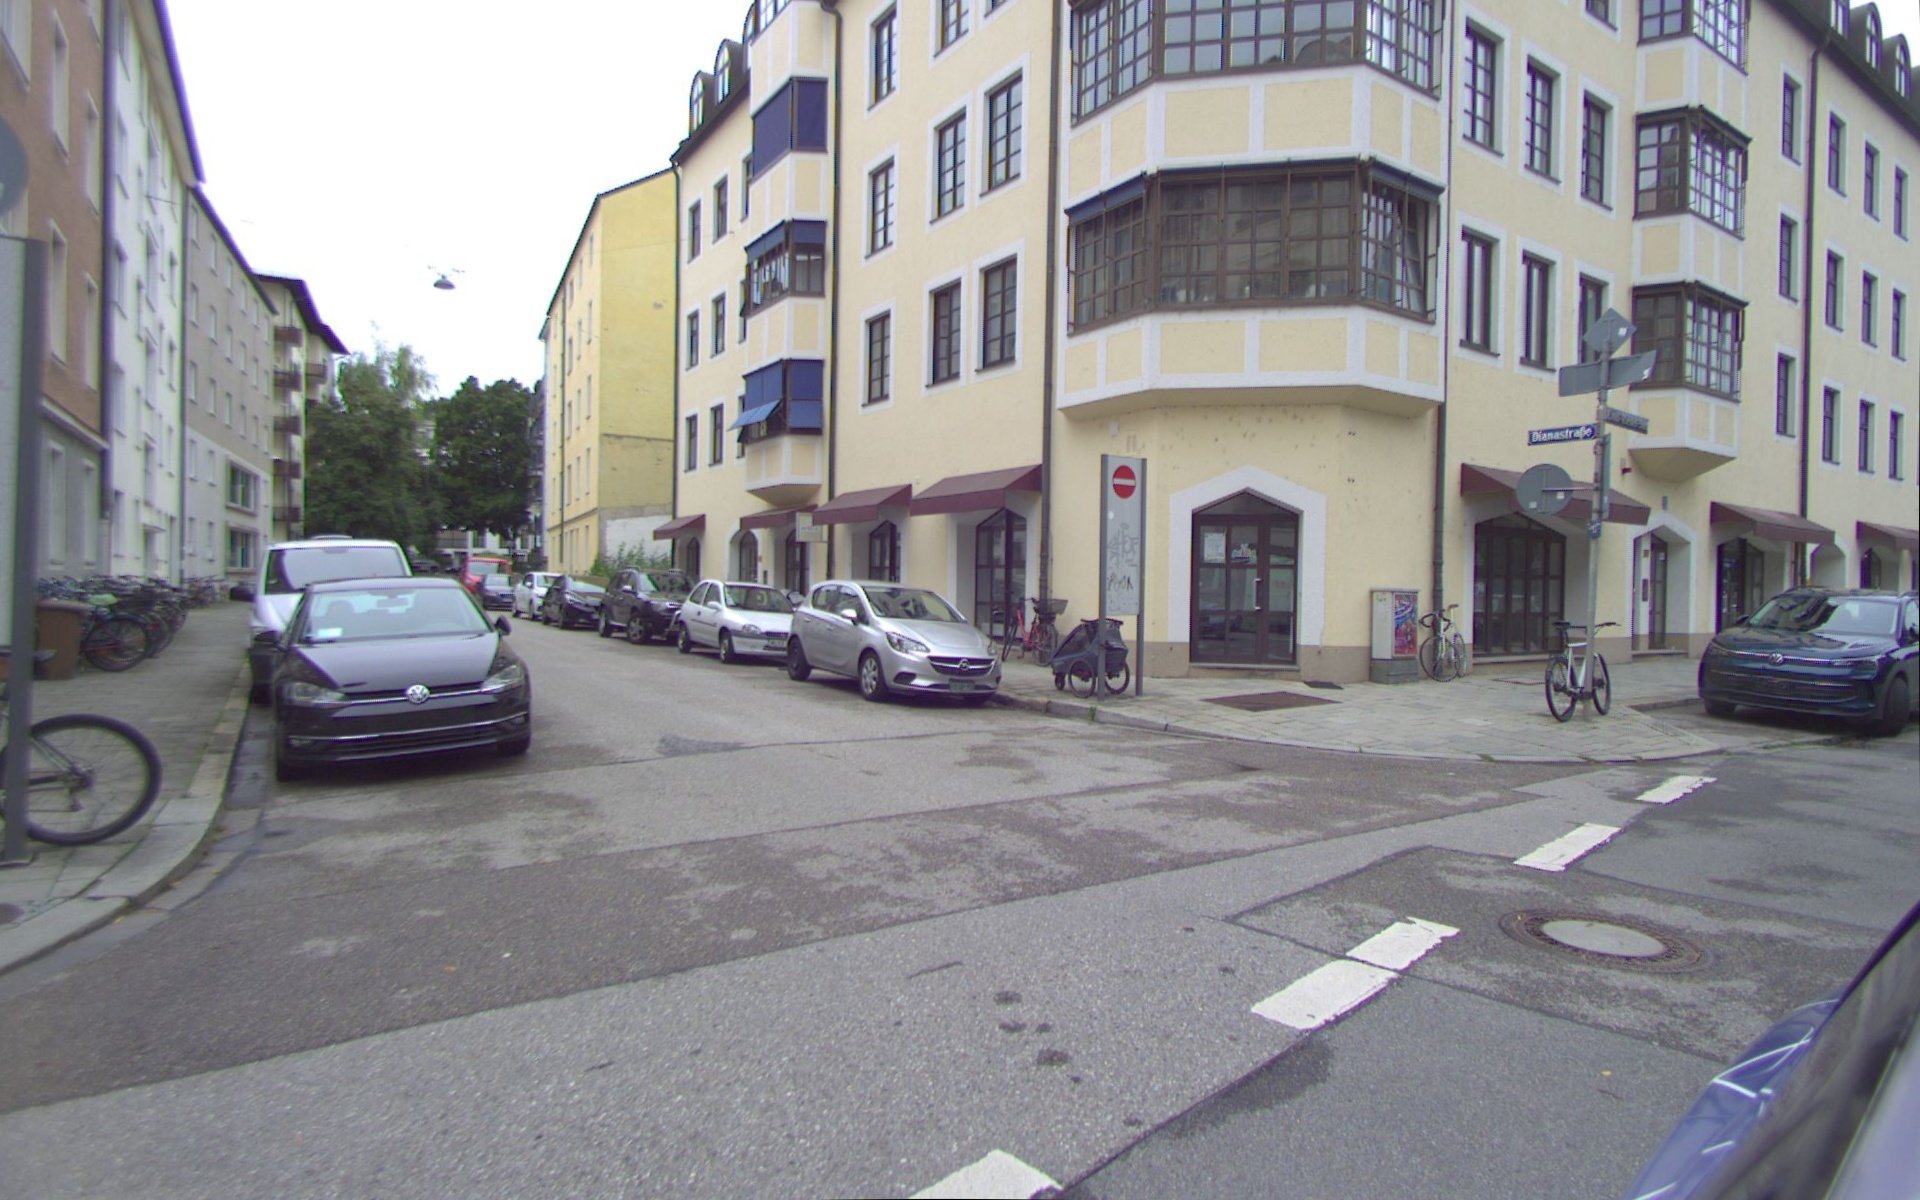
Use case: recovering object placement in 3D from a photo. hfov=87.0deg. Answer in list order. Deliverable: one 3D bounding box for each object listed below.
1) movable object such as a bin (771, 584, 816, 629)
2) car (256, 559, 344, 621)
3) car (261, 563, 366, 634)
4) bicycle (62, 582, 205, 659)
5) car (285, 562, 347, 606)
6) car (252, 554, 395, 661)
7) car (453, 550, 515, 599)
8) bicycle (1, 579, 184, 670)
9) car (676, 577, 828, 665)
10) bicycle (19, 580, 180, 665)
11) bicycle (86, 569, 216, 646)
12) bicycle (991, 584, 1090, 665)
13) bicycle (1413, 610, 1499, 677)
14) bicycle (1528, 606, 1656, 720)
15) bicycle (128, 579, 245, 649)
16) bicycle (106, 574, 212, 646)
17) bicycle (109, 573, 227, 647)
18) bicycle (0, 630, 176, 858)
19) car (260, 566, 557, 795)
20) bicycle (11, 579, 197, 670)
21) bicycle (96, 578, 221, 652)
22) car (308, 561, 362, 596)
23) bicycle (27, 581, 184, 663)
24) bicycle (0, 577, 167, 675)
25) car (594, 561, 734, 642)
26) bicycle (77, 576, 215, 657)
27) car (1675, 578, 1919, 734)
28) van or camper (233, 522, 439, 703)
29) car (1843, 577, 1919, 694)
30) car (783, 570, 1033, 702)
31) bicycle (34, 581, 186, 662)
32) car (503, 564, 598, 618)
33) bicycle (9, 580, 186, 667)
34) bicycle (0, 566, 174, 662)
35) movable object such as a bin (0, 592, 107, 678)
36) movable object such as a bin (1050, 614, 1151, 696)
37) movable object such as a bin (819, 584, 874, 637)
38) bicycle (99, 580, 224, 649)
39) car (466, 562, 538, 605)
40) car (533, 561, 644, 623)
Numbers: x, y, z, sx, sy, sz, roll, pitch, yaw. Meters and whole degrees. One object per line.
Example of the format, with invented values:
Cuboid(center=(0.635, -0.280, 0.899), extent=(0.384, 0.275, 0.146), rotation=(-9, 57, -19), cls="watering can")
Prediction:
Cuboid(center=(-4.014, 0.150, 24.347), extent=(0.671, 1.026, 1.127), rotation=(0, 2, -34), cls="movable object such as a bin")
Cuboid(center=(-18.753, -0.352, 28.765), extent=(1.940, 1.587, 4.673), rotation=(0, 2, -33), cls="car")
Cuboid(center=(-15.384, -0.061, 24.215), extent=(1.939, 1.522, 4.674), rotation=(0, 1, -31), cls="car")
Cuboid(center=(-13.296, 0.299, 16.338), extent=(0.414, 1.158, 1.783), rotation=(1, 2, 28), cls="bicycle")
Cuboid(center=(-25.264, -0.667, 39.770), extent=(1.939, 1.587, 4.675), rotation=(0, 2, -32), cls="car")
Cuboid(center=(-11.278, 0.041, 17.979), extent=(1.940, 1.664, 4.001), rotation=(0, 2, -32), cls="car")
Cuboid(center=(-20.591, -1.090, 43.714), extent=(2.024, 2.003, 4.436), rotation=(0, 1, -31), cls="car")
Cuboid(center=(-11.919, 0.296, 13.990), extent=(0.414, 1.158, 1.910), rotation=(1, 2, 28), cls="bicycle")
Cuboid(center=(-3.808, 0.295, 18.117), extent=(1.607, 1.353, 3.460), rotation=(0, 2, -31), cls="car")
Cuboid(center=(-12.577, 0.298, 14.851), extent=(0.414, 1.158, 1.783), rotation=(1, 2, 28), cls="bicycle")
Cuboid(center=(-14.164, 0.101, 17.775), extent=(0.414, 1.275, 1.783), rotation=(1, 2, 28), cls="bicycle")
Cuboid(center=(1.260, 0.363, 16.275), extent=(0.505, 1.201, 1.907), rotation=(1, 1, -34), cls="bicycle")
Cuboid(center=(7.412, 0.630, 15.109), extent=(1.662, 0.912, 0.263), rotation=(0, 6, -33), cls="bicycle")
Cuboid(center=(7.276, 0.681, 11.615), extent=(2.013, 1.173, 0.431), rotation=(-1, 2, -34), cls="bicycle")
Cuboid(center=(-14.804, 0.242, 19.426), extent=(0.414, 1.275, 1.783), rotation=(1, 2, 28), cls="bicycle")
Cuboid(center=(-16.549, 0.176, 20.964), extent=(0.411, 1.422, 1.920), rotation=(1, 1, 12), cls="bicycle")
Cuboid(center=(-16.069, 0.171, 20.585), extent=(0.414, 1.426, 1.908), rotation=(1, 1, 28), cls="bicycle")
Cuboid(center=(-4.820, 0.666, 4.728), extent=(1.767, 1.017, 0.498), rotation=(2, 2, -33), cls="bicycle")
Cuboid(center=(-4.917, 0.474, 8.791), extent=(1.856, 1.506, 3.887), rotation=(0, 2, -34), cls="car")
Cuboid(center=(-11.596, 0.294, 13.775), extent=(0.416, 1.158, 1.902), rotation=(2, 2, 38), cls="bicycle")
Cuboid(center=(-14.534, 0.243, 18.411), extent=(0.414, 1.275, 1.783), rotation=(1, 2, 28), cls="bicycle")
Cuboid(center=(-30.123, -1.037, 48.900), extent=(1.938, 1.588, 4.438), rotation=(0, 1, -28), cls="car")
Cuboid(center=(-12.793, 0.298, 15.212), extent=(0.414, 1.158, 1.783), rotation=(1, 2, 28), cls="bicycle")
Cuboid(center=(-11.168, 0.294, 12.675), extent=(0.472, 1.158, 1.902), rotation=(2, 2, 38), cls="bicycle")
Cuboid(center=(-6.597, -0.028, 22.292), extent=(1.946, 1.604, 4.032), rotation=(0, 1, -32), cls="car")
Cuboid(center=(-13.557, 0.240, 16.915), extent=(0.414, 1.275, 1.783), rotation=(1, 2, 28), cls="bicycle")
Cuboid(center=(11.239, 0.576, 12.861), extent=(4.410, 1.643, 2.114), rotation=(0, 1, -35), cls="car")
Cuboid(center=(-8.305, 0.040, 13.450), extent=(1.923, 1.942, 4.919), rotation=(-2, 3, -33), cls="van or camper")
Cuboid(center=(15.620, 0.538, 15.558), extent=(4.082, 1.607, 1.822), rotation=(0, 6, -31), cls="car")
Cuboid(center=(-0.833, 0.401, 13.434), extent=(1.716, 1.458, 3.751), rotation=(3, 0, -31), cls="car")
Cuboid(center=(-13.076, 0.299, 15.631), extent=(0.414, 1.158, 1.783), rotation=(1, 2, 28), cls="bicycle")
Cuboid(center=(-13.026, -0.321, 32.024), extent=(1.940, 1.588, 4.433), rotation=(0, 1, -34), cls="car")
Cuboid(center=(-12.238, 0.297, 14.435), extent=(0.414, 1.158, 1.910), rotation=(1, 2, 28), cls="bicycle")
Cuboid(center=(-11.466, 0.203, 13.132), extent=(0.471, 1.158, 1.908), rotation=(1, -3, 29), cls="bicycle")
Cuboid(center=(-10.872, 0.401, 12.134), extent=(0.952, 0.962, 0.733), rotation=(1, 1, -42), cls="movable object such as a bin")
Cuboid(center=(1.746, 0.663, 12.660), extent=(0.671, 0.911, 1.127), rotation=(0, 2, -34), cls="movable object such as a bin")
Cuboid(center=(-2.472, 0.209, 22.048), extent=(0.753, 1.094, 1.127), rotation=(0, 2, -34), cls="movable object such as a bin")
Cuboid(center=(-15.431, 0.245, 19.621), extent=(0.414, 1.275, 1.908), rotation=(1, 2, 28), cls="bicycle")
Cuboid(center=(-17.859, -0.645, 39.371), extent=(1.940, 1.588, 4.434), rotation=(0, 1, -33), cls="car")
Cuboid(center=(-10.403, -0.258, 28.144), extent=(1.940, 1.588, 4.433), rotation=(0, 1, -34), cls="car")
